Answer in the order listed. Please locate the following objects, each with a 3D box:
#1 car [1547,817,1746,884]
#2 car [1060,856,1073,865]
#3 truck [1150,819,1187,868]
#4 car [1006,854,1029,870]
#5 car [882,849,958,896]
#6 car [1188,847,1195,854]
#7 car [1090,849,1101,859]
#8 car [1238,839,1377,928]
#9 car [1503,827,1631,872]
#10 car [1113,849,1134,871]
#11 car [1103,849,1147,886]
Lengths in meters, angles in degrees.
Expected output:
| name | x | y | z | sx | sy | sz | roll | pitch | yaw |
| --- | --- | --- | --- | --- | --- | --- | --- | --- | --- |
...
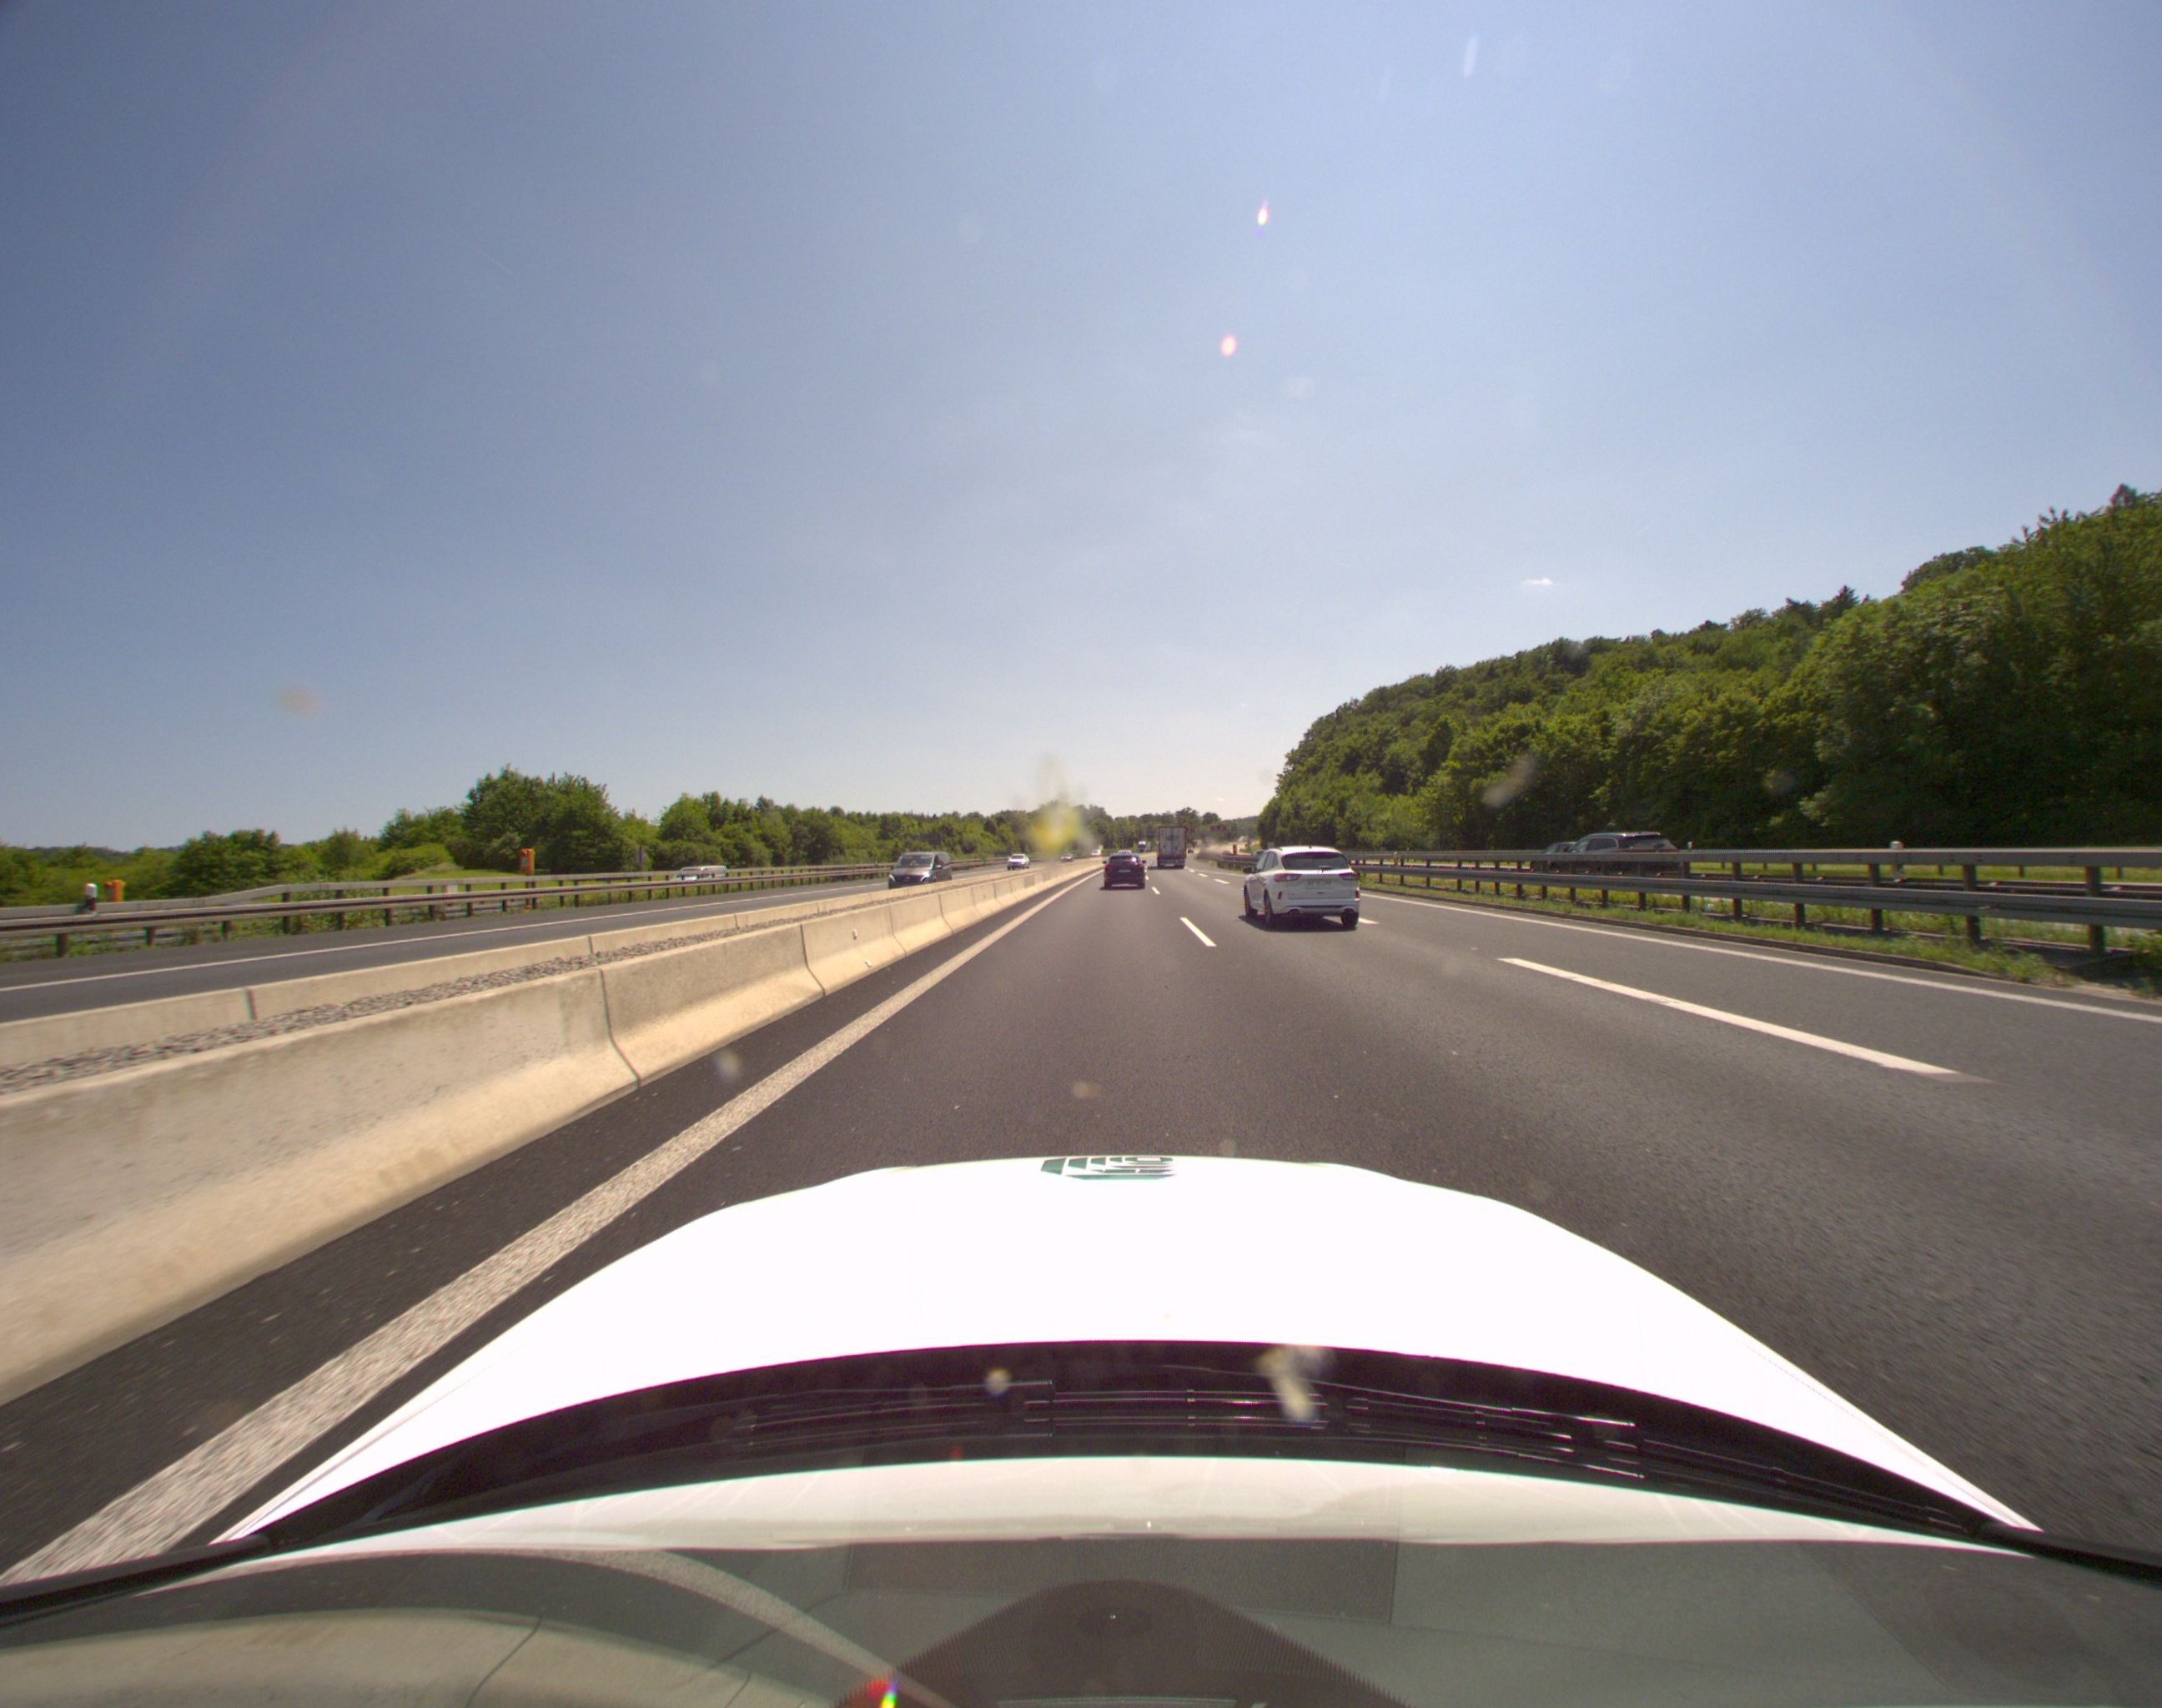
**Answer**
| name | x | y | z | sx | sy | sz | roll | pitch | yaw |
| --- | --- | --- | --- | --- | --- | --- | --- | --- | --- |
| car | 15.995 | -0.057 | 23.535 | 1.986 | 1.662 | 5.629 | -1 | -1 | 2 |
| car | -2.426 | 1.045 | 134.581 | 1.720 | 1.532 | 4.266 | 0 | 0 | 4 |
| truck | 8.573 | -0.909 | 81.085 | 3.019 | 4.418 | 12.030 | -1 | -1 | 4 |
| car | -6.828 | 0.854 | 88.604 | 1.780 | 1.632 | 4.935 | -1 | 0 | 4 |
| car | -7.001 | 0.780 | 36.087 | 2.027 | 1.858 | 5.379 | -1 | -1 | 3 |
| car | 34.795 | -1.159 | 256.064 | 1.983 | 2.014 | 4.007 | -1 | -1 | 7 |
| car | 3.208 | 0.029 | 177.100 | 1.985 | 2.014 | 5.384 | -1 | -1 | 3 |
| car | 4.777 | 0.591 | 17.892 | 1.985 | 1.662 | 4.471 | -1 | -1 | 3 |
| car | 19.610 | -0.141 | 33.200 | 1.988 | 1.662 | 5.225 | -1 | -1 | -1 |
| car | 4.384 | 0.596 | 84.035 | 1.985 | 2.013 | 4.003 | -4 | 0 | 3 |
| car | 1.961 | 0.589 | 37.205 | 1.774 | 1.577 | 3.999 | -1 | -1 | 0 |
